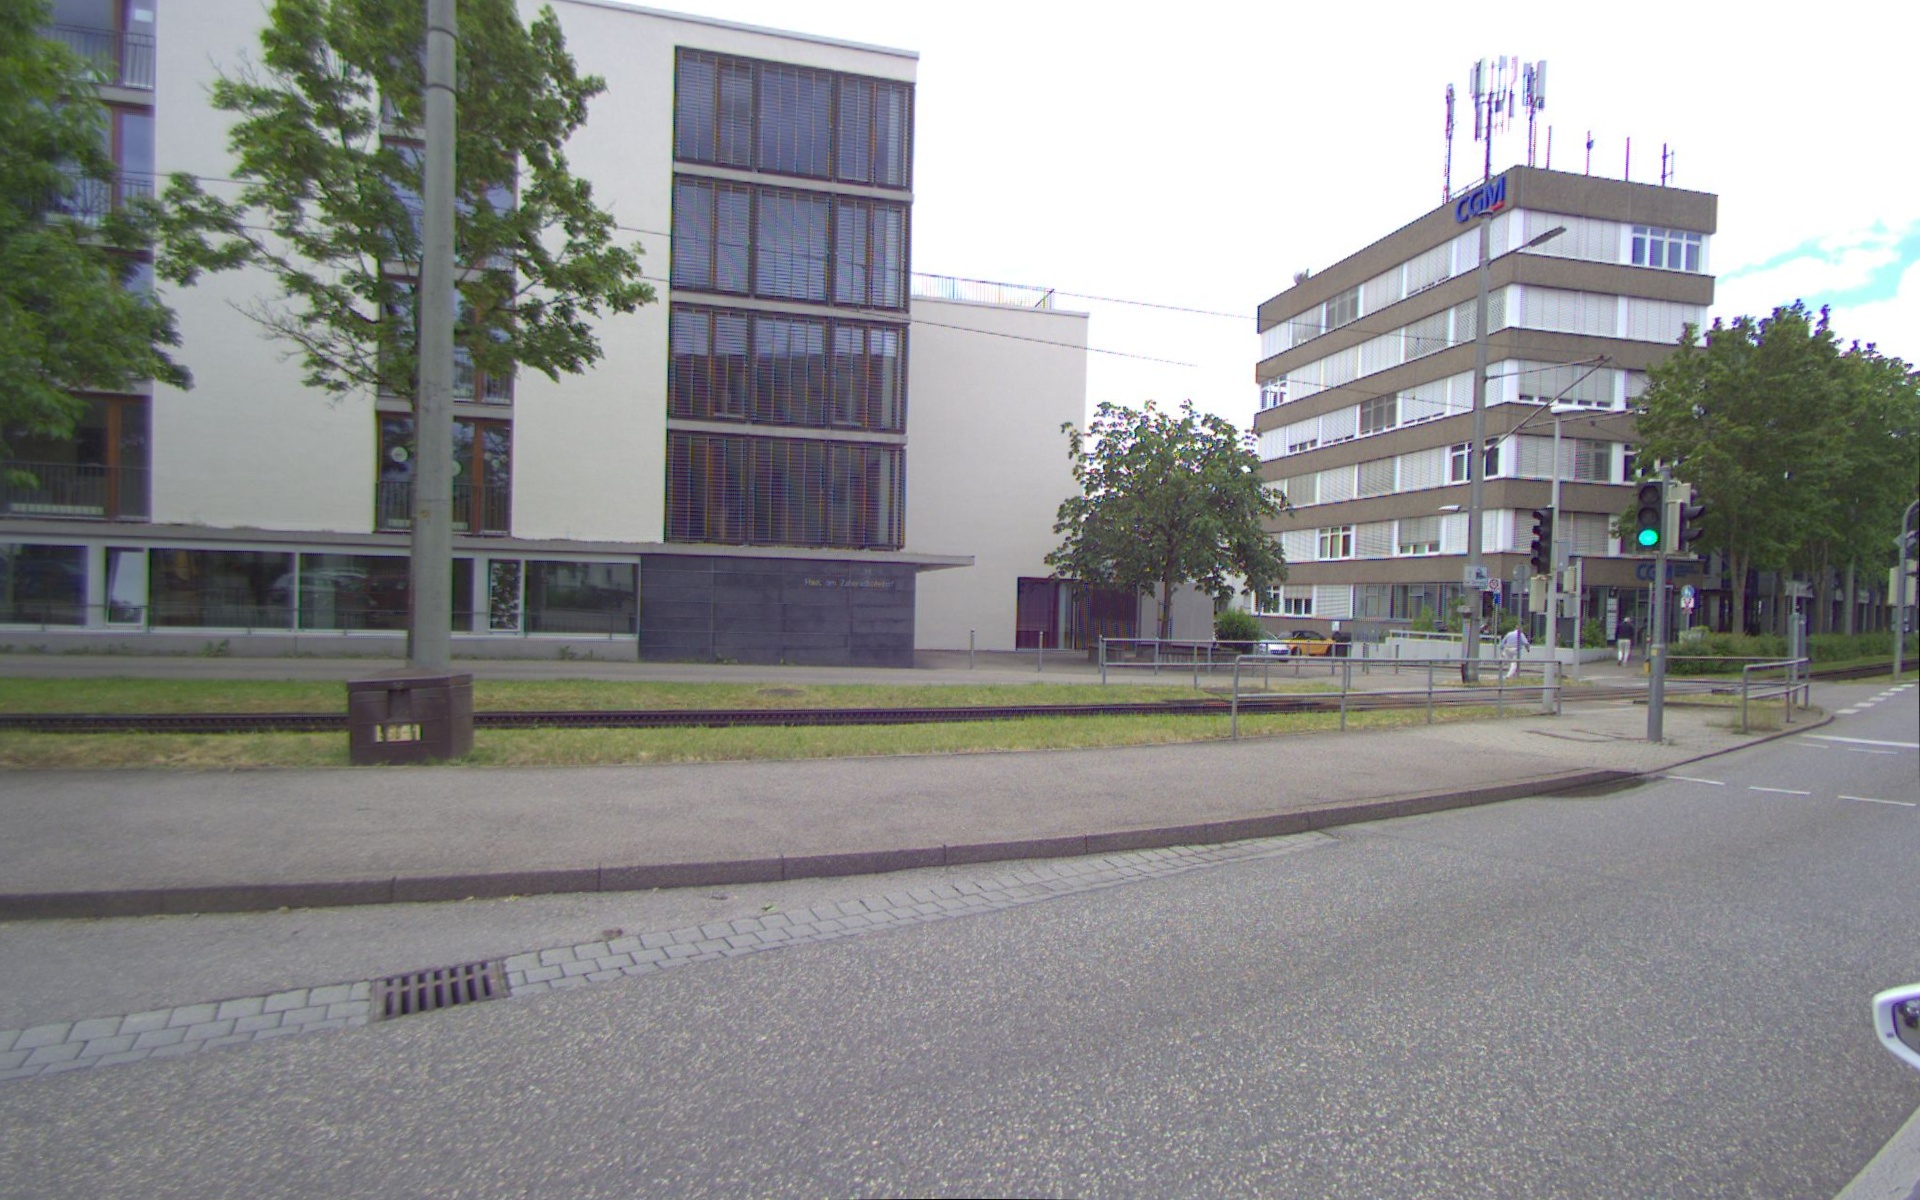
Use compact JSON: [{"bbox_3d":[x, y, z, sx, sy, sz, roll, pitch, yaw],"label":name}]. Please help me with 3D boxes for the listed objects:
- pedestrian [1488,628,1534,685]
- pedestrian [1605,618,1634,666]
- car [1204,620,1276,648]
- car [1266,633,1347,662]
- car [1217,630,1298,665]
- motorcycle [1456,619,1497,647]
[{"bbox_3d":[15.443,1.572,28.160,0.988,1.547,0.840,2,-1,-40],"label":"pedestrian"},{"bbox_3d":[24.148,1.538,36.790,0.676,1.728,0.683,2,-1,-37],"label":"pedestrian"},{"bbox_3d":[17.200,2.096,61.739,3.937,1.595,1.848,2,-2,-19],"label":"car"},{"bbox_3d":[18.719,2.559,54.316,3.937,1.444,1.724,2,-2,-19],"label":"car"},{"bbox_3d":[12.728,2.016,43.200,1.613,1.377,3.992,2,-2,-12],"label":"car"},{"bbox_3d":[23.669,1.505,46.075,0.558,1.215,1.880,2,0,-13],"label":"motorcycle"}]
